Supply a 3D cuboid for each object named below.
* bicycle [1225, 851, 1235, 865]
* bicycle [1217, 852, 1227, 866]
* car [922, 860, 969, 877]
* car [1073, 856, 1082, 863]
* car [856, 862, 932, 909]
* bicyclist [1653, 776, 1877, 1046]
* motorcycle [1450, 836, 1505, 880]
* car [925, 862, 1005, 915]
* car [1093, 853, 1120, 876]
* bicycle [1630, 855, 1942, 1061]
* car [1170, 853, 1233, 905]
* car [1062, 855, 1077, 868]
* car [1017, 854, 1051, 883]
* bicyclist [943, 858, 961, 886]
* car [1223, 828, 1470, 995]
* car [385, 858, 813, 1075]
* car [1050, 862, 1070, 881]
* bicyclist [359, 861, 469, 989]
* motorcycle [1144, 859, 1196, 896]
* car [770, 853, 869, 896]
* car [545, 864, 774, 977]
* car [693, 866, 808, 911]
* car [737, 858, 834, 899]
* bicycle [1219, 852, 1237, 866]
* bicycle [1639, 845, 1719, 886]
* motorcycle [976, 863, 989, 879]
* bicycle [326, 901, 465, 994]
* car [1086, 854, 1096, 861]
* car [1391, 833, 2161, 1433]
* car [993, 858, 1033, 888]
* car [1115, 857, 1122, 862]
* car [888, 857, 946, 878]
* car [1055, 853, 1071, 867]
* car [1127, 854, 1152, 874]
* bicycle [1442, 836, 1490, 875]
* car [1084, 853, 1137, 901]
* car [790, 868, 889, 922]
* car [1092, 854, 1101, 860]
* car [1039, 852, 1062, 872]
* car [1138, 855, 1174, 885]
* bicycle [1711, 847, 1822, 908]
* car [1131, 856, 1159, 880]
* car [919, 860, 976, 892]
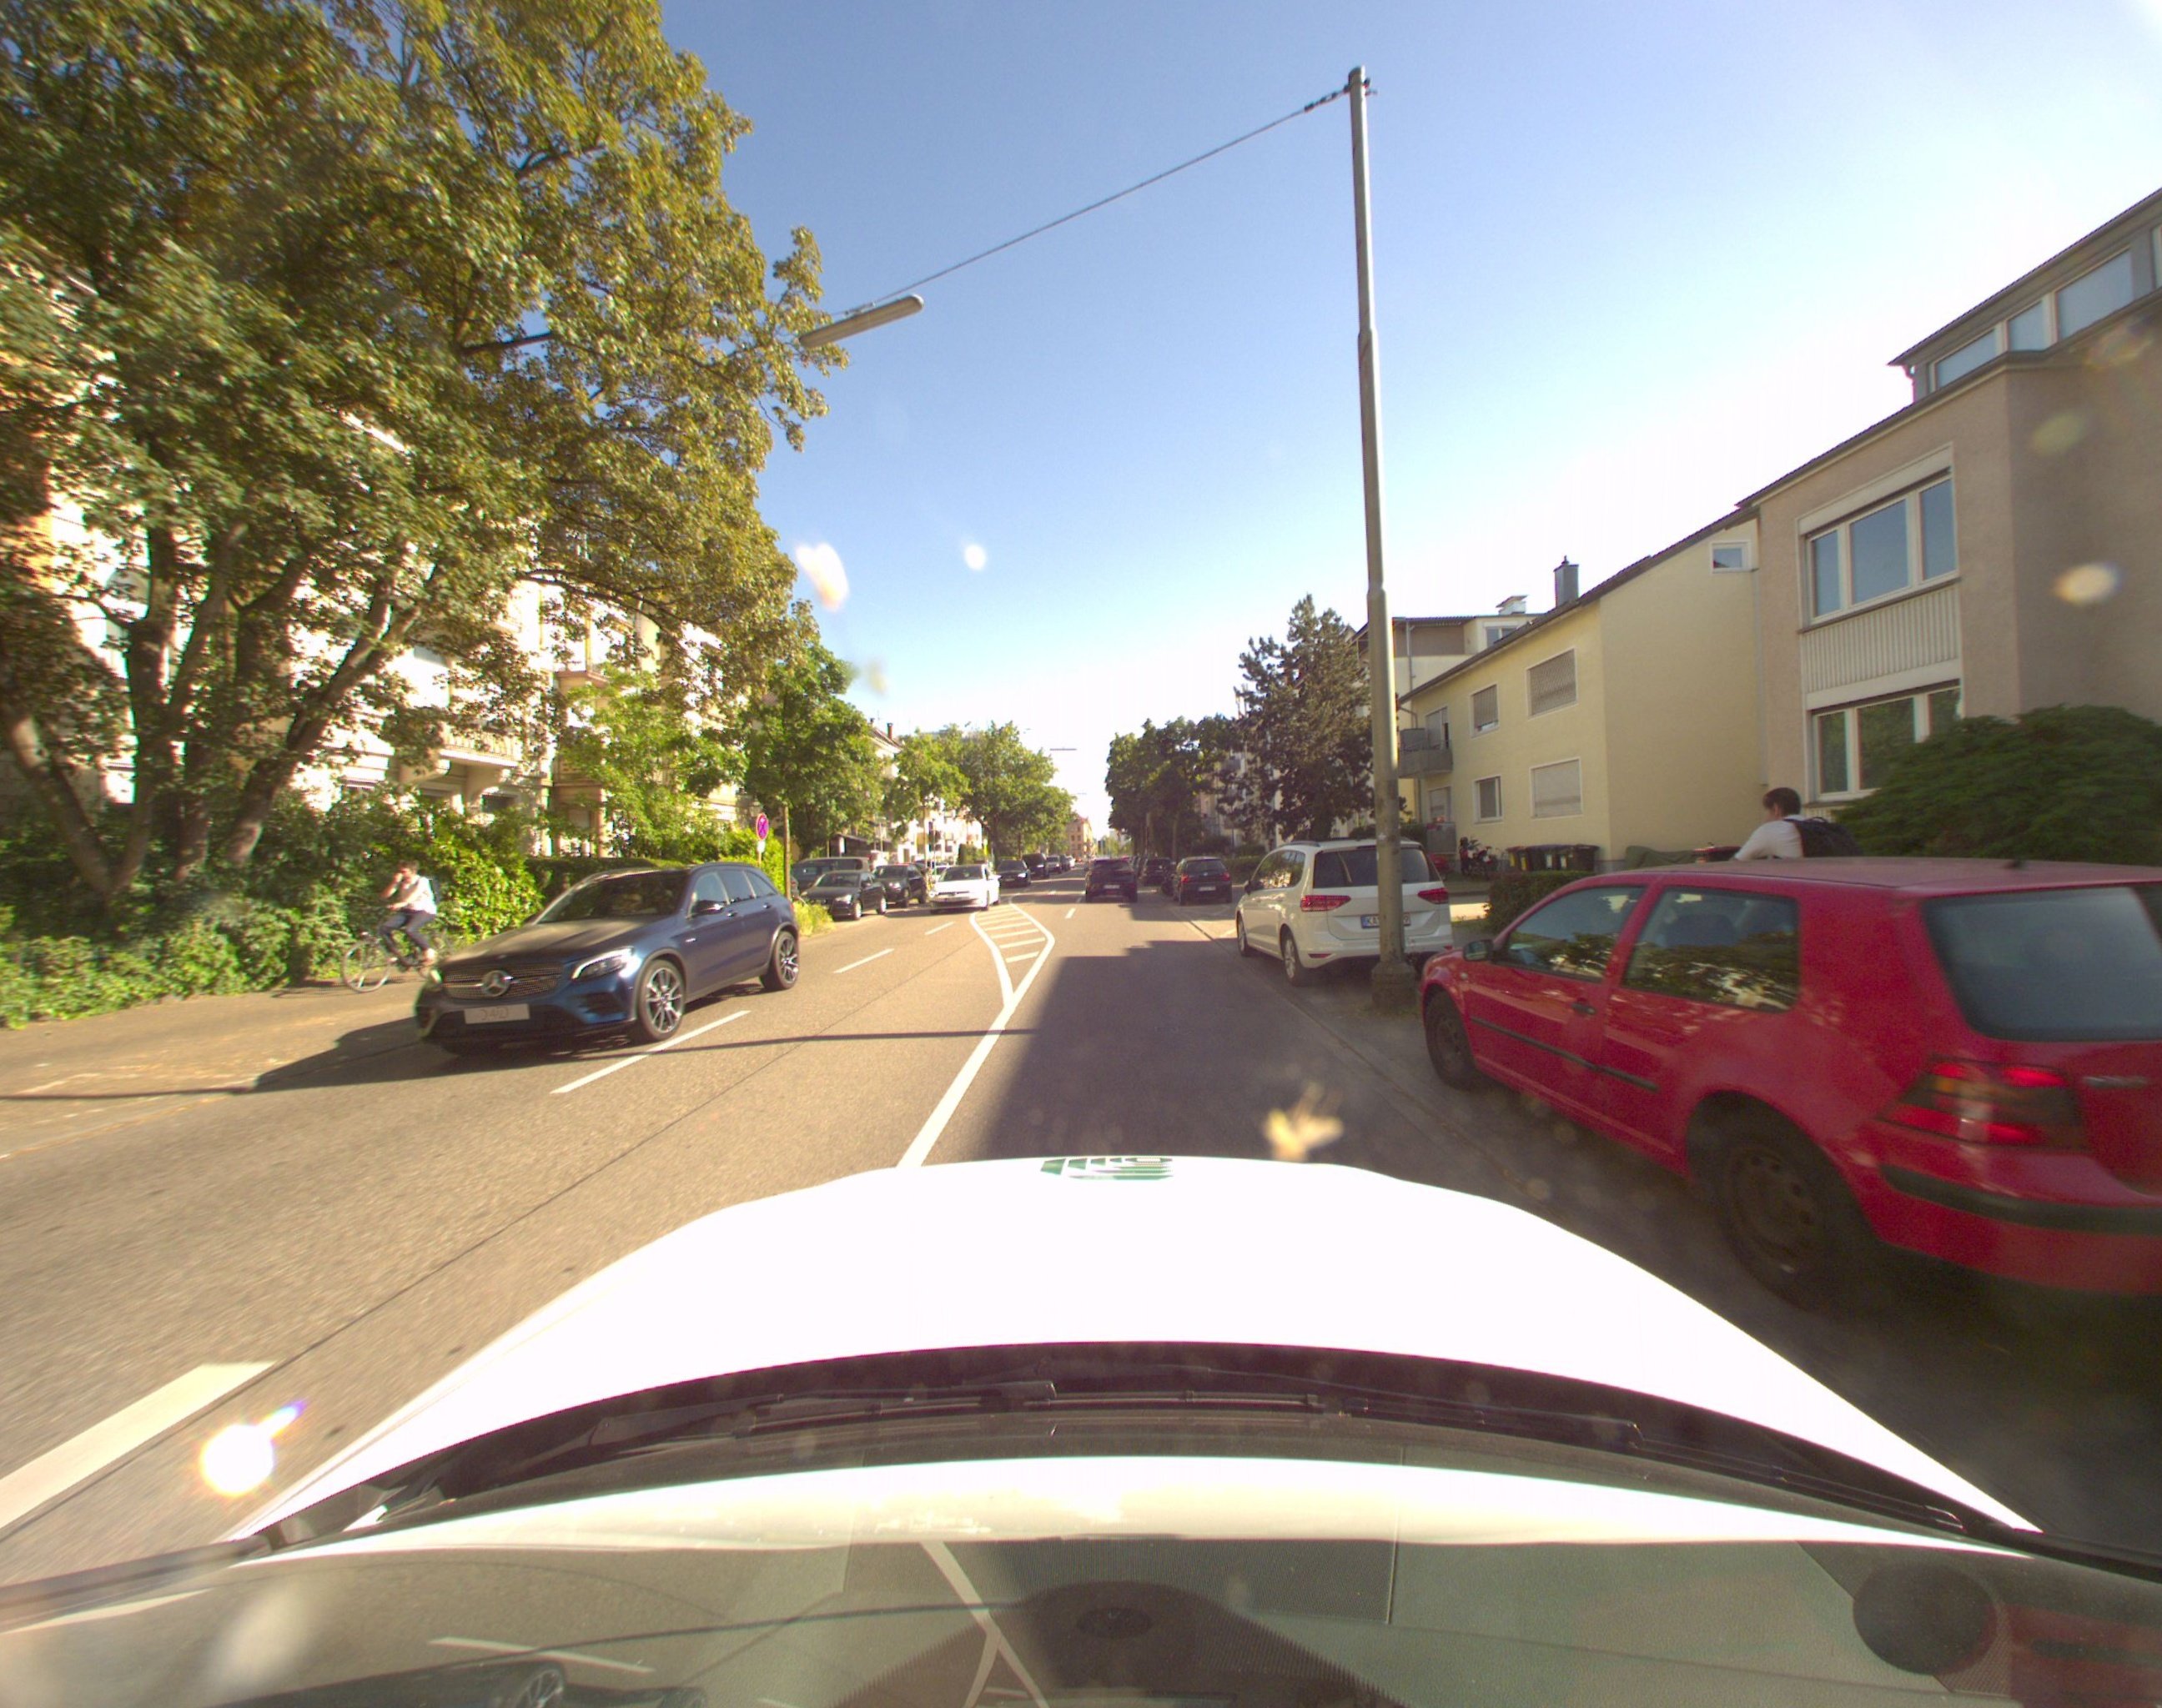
[{"bbox_3d":[14.249,0.357,77.822,0.589,1.287,1.690,-5,0,2],"label":"bicycle"},{"bbox_3d":[13.452,0.457,77.901,0.620,1.287,1.843,-5,0,2],"label":"bicycle"},{"bbox_3d":[-12.520,1.343,75.235,3.973,1.486,1.881,-1,0,1],"label":"car"},{"bbox_3d":[-0.879,1.427,200.389,1.784,1.617,4.002,-2,0,2],"label":"car"},{"bbox_3d":[-6.812,1.106,30.030,1.671,1.555,4.010,-1,0,3],"label":"car"},{"bbox_3d":[4.977,0.386,6.011,0.721,1.793,1.016,-3,0,1],"label":"bicyclist"},{"bbox_3d":[12.992,0.129,26.789,0.634,1.375,2.426,-3,0,2],"label":"motorcycle"},{"bbox_3d":[-3.613,1.025,26.014,1.727,1.412,4.193,-4,0,2],"label":"car"},{"bbox_3d":[1.905,0.749,59.764,1.823,1.578,3.841,-2,0,2],"label":"car"},{"bbox_3d":[5.000,0.649,5.981,0.695,1.247,1.822,-3,0,2],"label":"bicycle"},{"bbox_3d":[3.801,0.752,26.239,1.613,1.499,3.652,-3,0,3],"label":"car"},{"bbox_3d":[-1.544,1.028,112.128,1.800,1.648,4.673,-4,0,1],"label":"car"},{"bbox_3d":[-3.427,1.054,60.408,2.009,1.952,5.179,-4,0,1],"label":"car"},{"bbox_3d":[-8.476,1.181,53.479,0.664,1.824,1.043,-2,-1,-38],"label":"bicyclist"},{"bbox_3d":[3.158,0.604,10.686,1.763,1.659,4.341,-3,0,0],"label":"car"},{"bbox_3d":[-4.631,0.922,8.795,1.830,1.613,4.401,-4,0,1],"label":"car"},{"bbox_3d":[-2.271,1.924,89.852,1.796,1.911,4.713,-4,0,2],"label":"car"},{"bbox_3d":[-9.698,0.988,11.884,0.580,1.767,1.208,0,0,1],"label":"bicyclist"},{"bbox_3d":[3.291,0.872,30.422,0.701,1.271,2.411,-3,0,-26],"label":"motorcycle"},{"bbox_3d":[-12.535,0.958,39.066,4.334,1.879,1.865,-1,0,-24],"label":"car"},{"bbox_3d":[-6.977,1.002,14.057,1.619,1.588,4.348,0,0,1],"label":"car"},{"bbox_3d":[-12.582,1.278,31.000,3.929,1.488,1.618,-1,0,-27],"label":"car"},{"bbox_3d":[-13.056,1.033,36.048,3.924,1.644,1.667,-1,0,-23],"label":"car"},{"bbox_3d":[13.771,0.441,76.133,1.520,1.222,0.466,-5,-1,32],"label":"bicycle"},{"bbox_3d":[15.273,0.282,20.804,1.777,1.014,0.501,0,-1,-7],"label":"bicycle"},{"bbox_3d":[-7.256,1.216,60.017,0.458,1.125,1.722,-1,0,10],"label":"motorcycle"},{"bbox_3d":[-9.712,1.286,11.625,0.447,1.116,1.765,0,0,1],"label":"bicycle"},{"bbox_3d":[2.168,0.667,172.169,1.764,1.452,3.889,-2,0,3],"label":"car"},{"bbox_3d":[2.968,0.690,3.900,1.526,1.449,3.718,-3,0,0],"label":"car"},{"bbox_3d":[-3.715,1.026,45.056,1.685,1.453,4.174,-4,0,1],"label":"car"},{"bbox_3d":[11.442,1.716,249.081,1.985,1.519,4.003,0,-1,3],"label":"car"},{"bbox_3d":[-12.765,1.046,63.462,3.962,1.461,1.738,-1,0,10],"label":"car"},{"bbox_3d":[-2.178,0.743,99.824,1.713,1.566,4.344,-5,0,1],"label":"car"},{"bbox_3d":[4.779,0.789,66.661,1.708,1.489,4.234,-2,0,0],"label":"car"},{"bbox_3d":[13.827,0.049,29.336,0.595,1.303,2.426,-3,0,2],"label":"bicycle"},{"bbox_3d":[1.020,0.775,28.779,1.739,1.574,3.559,-1,0,2],"label":"car"},{"bbox_3d":[-7.078,1.151,24.288,1.630,1.417,4.091,0,0,2],"label":"car"},{"bbox_3d":[3.753,0.659,197.106,1.763,1.452,3.890,-2,0,4],"label":"car"},{"bbox_3d":[-2.904,0.747,78.965,1.809,1.743,4.494,-4,0,1],"label":"car"},{"bbox_3d":[3.853,0.813,42.530,1.580,1.396,4.456,-3,0,2],"label":"car"},{"bbox_3d":[12.148,0.410,14.502,0.453,0.992,1.743,-4,-2,2],"label":"bicycle"},{"bbox_3d":[4.246,0.886,53.868,1.684,1.428,4.152,-2,0,4],"label":"car"},{"bbox_3d":[-6.338,1.018,39.193,1.827,1.389,4.803,-1,0,1],"label":"car"}]
